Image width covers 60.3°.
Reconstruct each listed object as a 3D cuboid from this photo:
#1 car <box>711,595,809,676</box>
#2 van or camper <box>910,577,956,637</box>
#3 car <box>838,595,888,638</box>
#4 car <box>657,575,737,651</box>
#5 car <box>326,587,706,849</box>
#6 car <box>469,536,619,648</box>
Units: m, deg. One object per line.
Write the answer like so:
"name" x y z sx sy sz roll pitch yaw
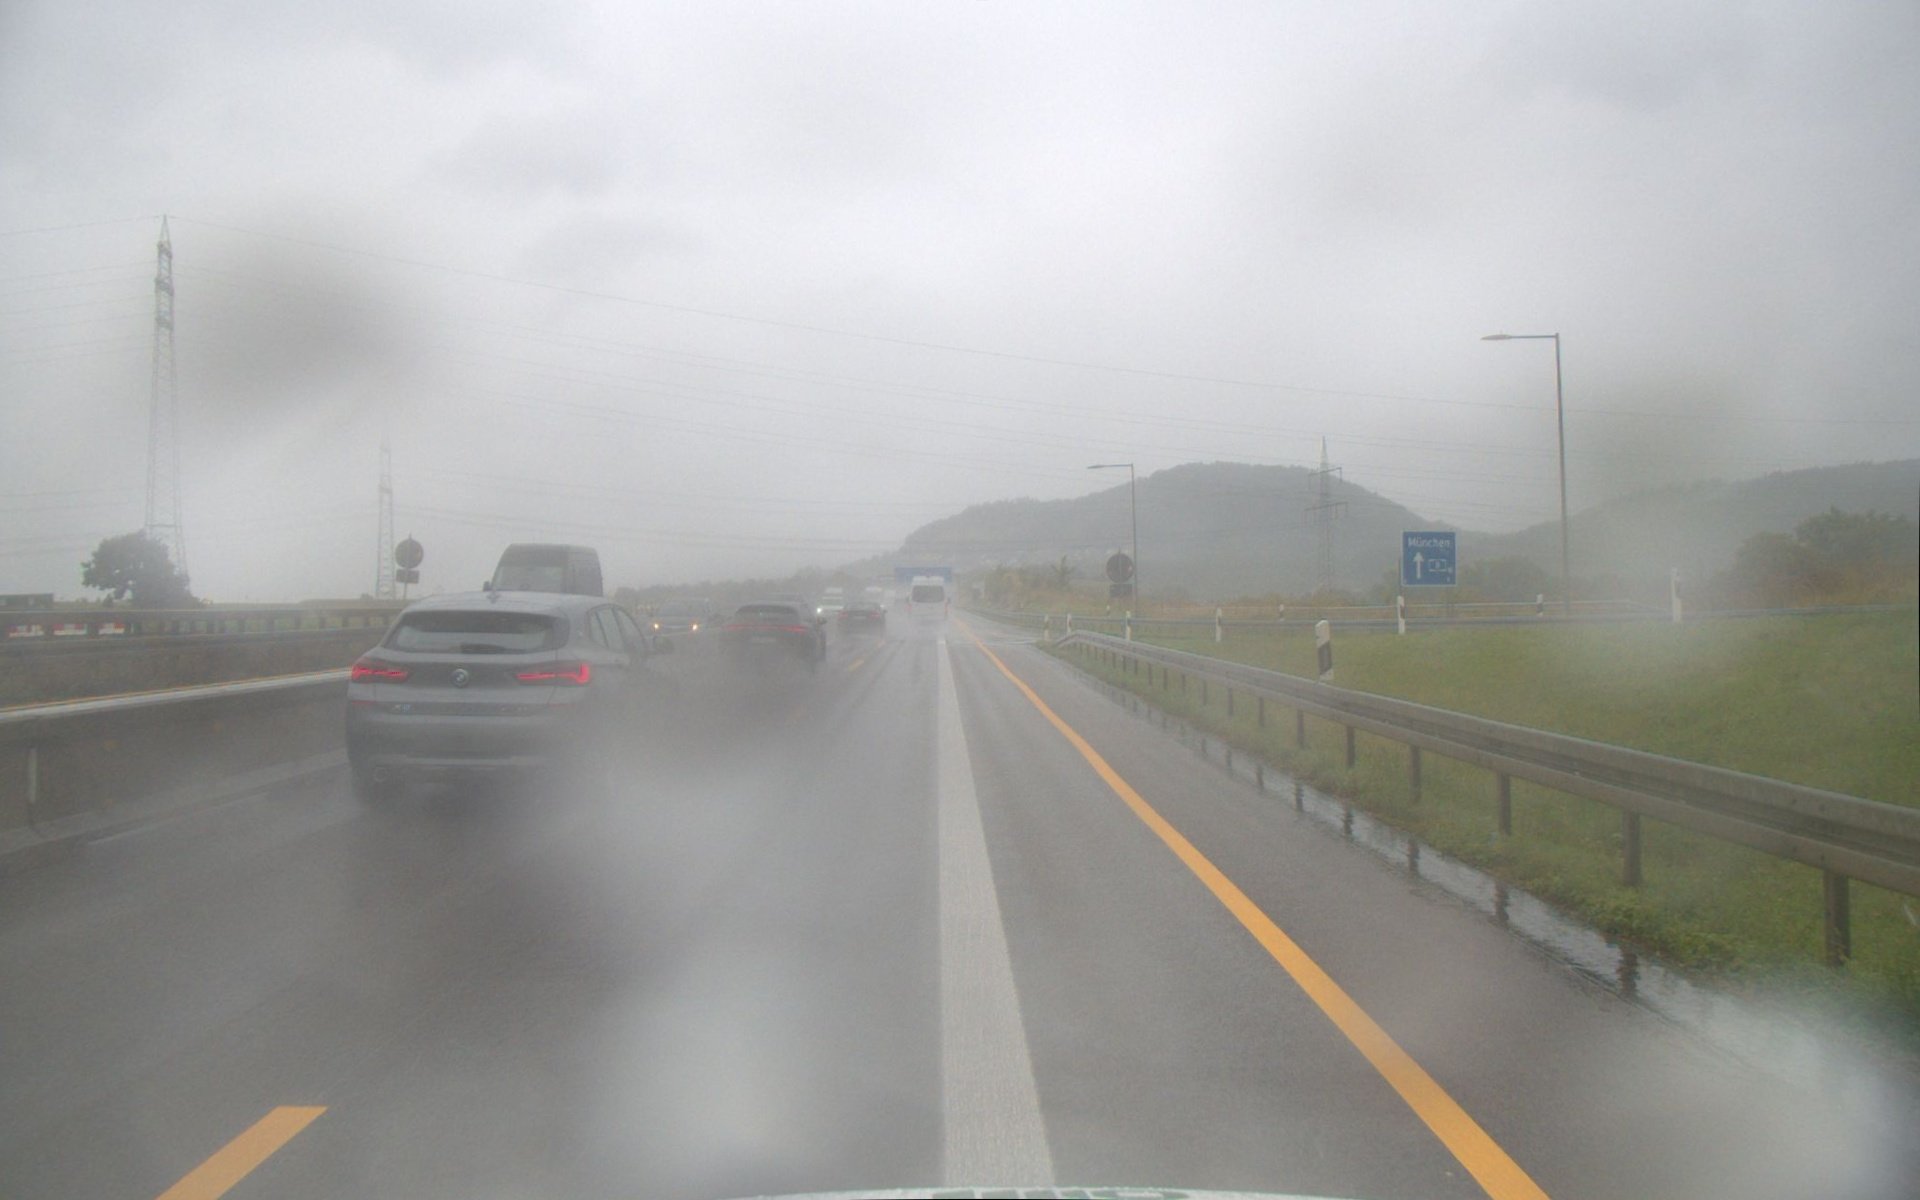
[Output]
"car" -4.016 0.734 33.791 1.808 1.517 4.257 1 -1 -5
"van or camper" -1.350 0.376 81.432 1.957 2.826 4.045 1 -2 -5
"car" -3.709 0.589 62.893 1.808 1.517 4.258 -2 0 -4
"car" -7.581 0.327 47.982 1.799 2.048 3.999 1 1 -2
"car" -3.154 0.800 12.806 1.666 1.626 4.843 1 -1 -1
"car" -10.230 -0.173 41.215 2.027 2.561 6.176 -1 0 1
